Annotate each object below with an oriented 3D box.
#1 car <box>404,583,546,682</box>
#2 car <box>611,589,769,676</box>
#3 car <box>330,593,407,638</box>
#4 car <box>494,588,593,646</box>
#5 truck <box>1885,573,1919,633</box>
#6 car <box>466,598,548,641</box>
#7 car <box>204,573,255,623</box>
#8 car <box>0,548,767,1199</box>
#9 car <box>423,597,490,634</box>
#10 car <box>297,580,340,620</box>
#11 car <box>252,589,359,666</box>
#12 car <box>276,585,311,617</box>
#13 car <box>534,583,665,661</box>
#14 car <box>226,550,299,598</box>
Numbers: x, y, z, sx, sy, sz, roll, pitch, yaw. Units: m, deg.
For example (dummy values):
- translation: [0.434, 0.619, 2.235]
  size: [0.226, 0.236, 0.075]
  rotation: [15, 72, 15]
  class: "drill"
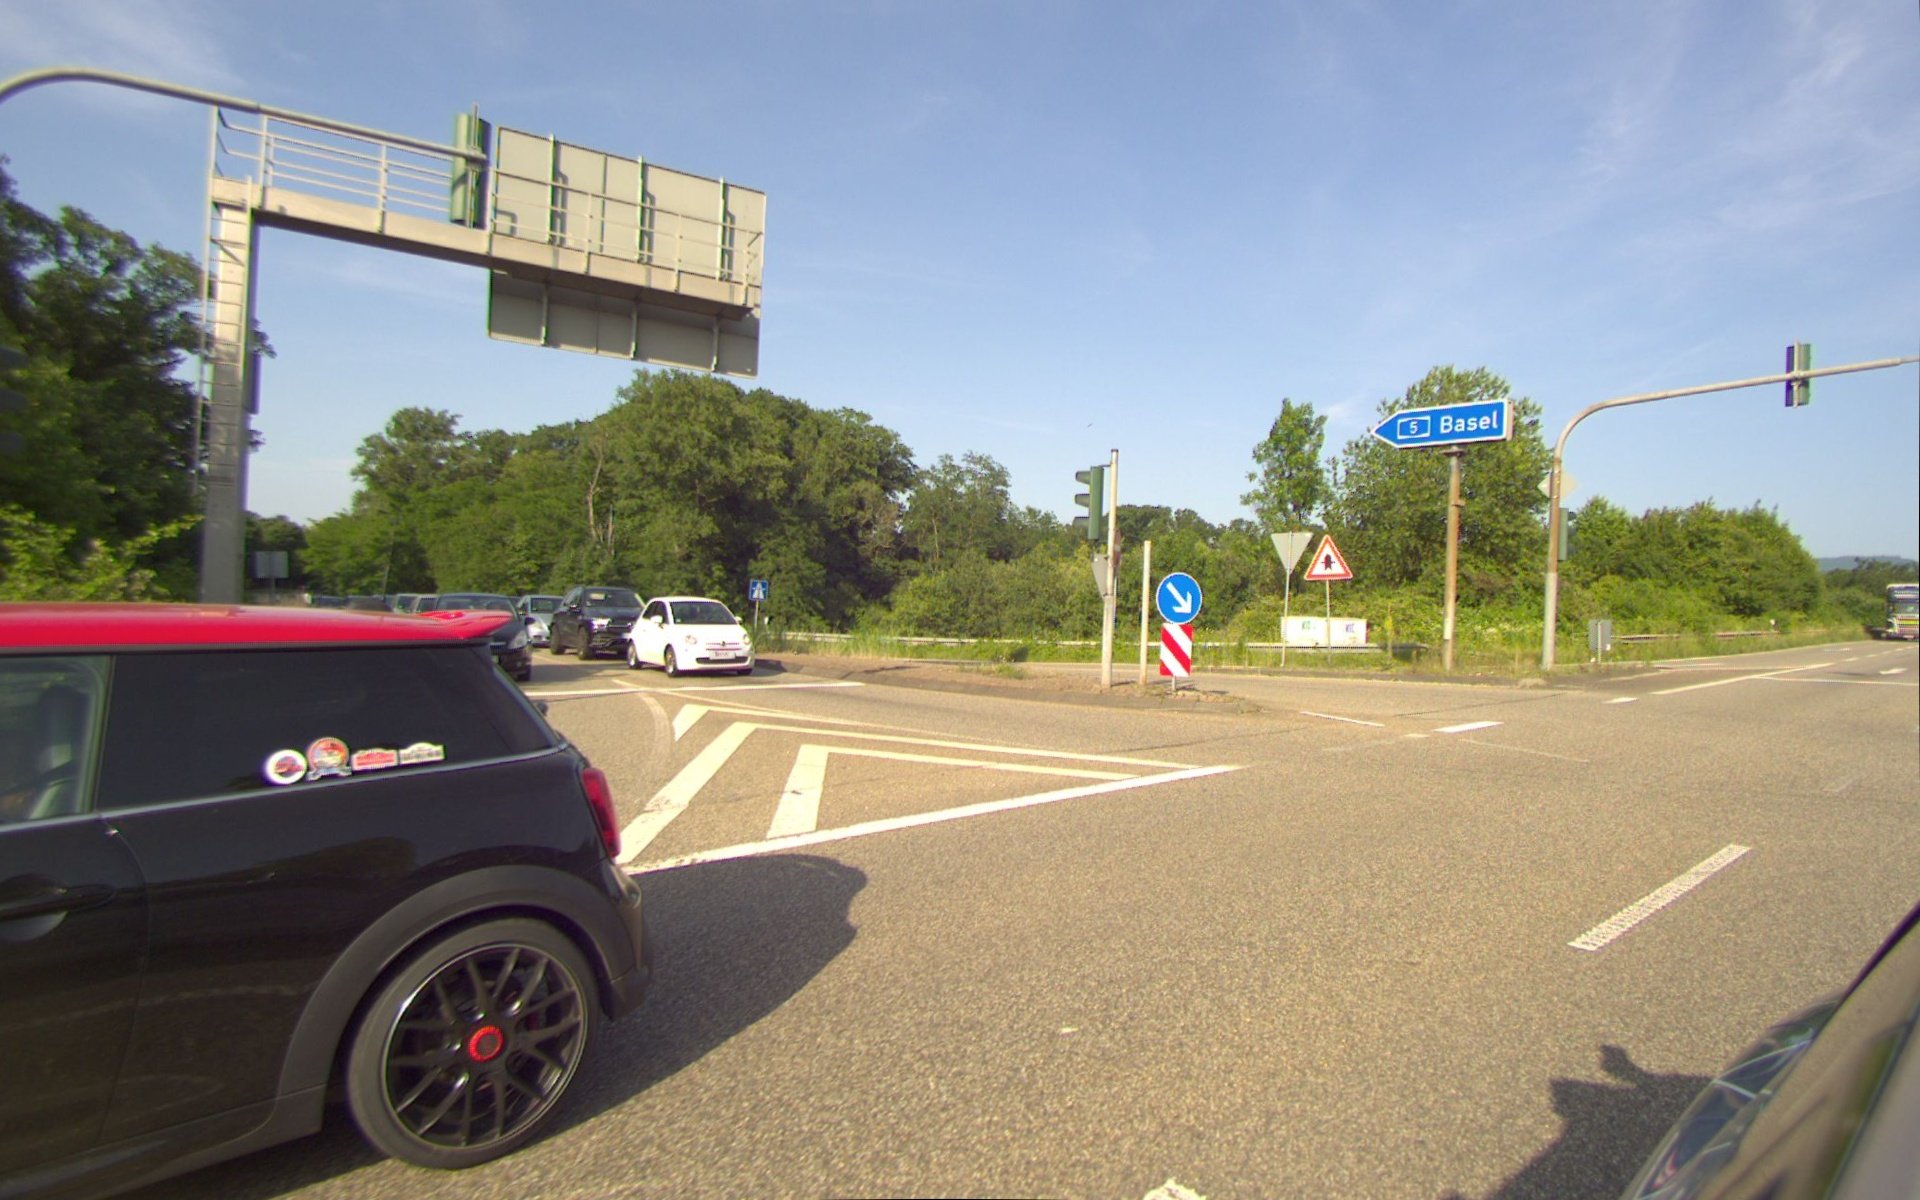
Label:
- translation: [-8.571, 0.497, 17.701]
  size: [1.750, 1.515, 4.125]
  rotation: [1, 0, -32]
  class: "car"
- translation: [-5.366, 0.574, 19.865]
  size: [1.775, 1.522, 3.607]
  rotation: [1, 0, -37]
  class: "car"
- translation: [-20.558, 0.492, 35.109]
  size: [1.835, 1.459, 4.121]
  rotation: [1, 0, -37]
  class: "car"
- translation: [-12.843, 0.489, 31.081]
  size: [1.835, 1.653, 4.121]
  rotation: [1, 0, -37]
  class: "car"
- translation: [70.669, 0.256, 74.064]
  size: [14.316, 4.070, 3.192]
  rotation: [1, -1, -43]
  class: "truck"
- translation: [-16.392, 0.670, 36.548]
  size: [1.835, 1.459, 4.121]
  rotation: [1, 0, -37]
  class: "car"
- translation: [-31.424, -0.065, 43.497]
  size: [1.565, 2.039, 3.996]
  rotation: [1, -1, -38]
  class: "car"
- translation: [-2.612, 0.643, 2.552]
  size: [3.807, 1.486, 1.821]
  rotation: [1, -1, -43]
  class: "car"
- translation: [-21.776, 0.644, 43.684]
  size: [1.835, 1.459, 4.121]
  rotation: [1, 0, -37]
  class: "car"
- translation: [-34.374, 0.010, 54.182]
  size: [1.565, 2.039, 3.996]
  rotation: [1, -1, -38]
  class: "car"
- translation: [-12.656, 0.476, 19.489]
  size: [1.464, 1.330, 3.636]
  rotation: [1, 0, -37]
  class: "car"
- translation: [-43.311, 0.072, 65.706]
  size: [1.565, 2.039, 3.996]
  rotation: [1, -1, -38]
  class: "car"
- translation: [-8.844, 0.477, 24.639]
  size: [1.835, 1.730, 4.121]
  rotation: [1, 0, -37]
  class: "car"
- translation: [-23.300, -0.834, 33.757]
  size: [1.835, 1.459, 4.121]
  rotation: [1, 0, -37]
  class: "car"
